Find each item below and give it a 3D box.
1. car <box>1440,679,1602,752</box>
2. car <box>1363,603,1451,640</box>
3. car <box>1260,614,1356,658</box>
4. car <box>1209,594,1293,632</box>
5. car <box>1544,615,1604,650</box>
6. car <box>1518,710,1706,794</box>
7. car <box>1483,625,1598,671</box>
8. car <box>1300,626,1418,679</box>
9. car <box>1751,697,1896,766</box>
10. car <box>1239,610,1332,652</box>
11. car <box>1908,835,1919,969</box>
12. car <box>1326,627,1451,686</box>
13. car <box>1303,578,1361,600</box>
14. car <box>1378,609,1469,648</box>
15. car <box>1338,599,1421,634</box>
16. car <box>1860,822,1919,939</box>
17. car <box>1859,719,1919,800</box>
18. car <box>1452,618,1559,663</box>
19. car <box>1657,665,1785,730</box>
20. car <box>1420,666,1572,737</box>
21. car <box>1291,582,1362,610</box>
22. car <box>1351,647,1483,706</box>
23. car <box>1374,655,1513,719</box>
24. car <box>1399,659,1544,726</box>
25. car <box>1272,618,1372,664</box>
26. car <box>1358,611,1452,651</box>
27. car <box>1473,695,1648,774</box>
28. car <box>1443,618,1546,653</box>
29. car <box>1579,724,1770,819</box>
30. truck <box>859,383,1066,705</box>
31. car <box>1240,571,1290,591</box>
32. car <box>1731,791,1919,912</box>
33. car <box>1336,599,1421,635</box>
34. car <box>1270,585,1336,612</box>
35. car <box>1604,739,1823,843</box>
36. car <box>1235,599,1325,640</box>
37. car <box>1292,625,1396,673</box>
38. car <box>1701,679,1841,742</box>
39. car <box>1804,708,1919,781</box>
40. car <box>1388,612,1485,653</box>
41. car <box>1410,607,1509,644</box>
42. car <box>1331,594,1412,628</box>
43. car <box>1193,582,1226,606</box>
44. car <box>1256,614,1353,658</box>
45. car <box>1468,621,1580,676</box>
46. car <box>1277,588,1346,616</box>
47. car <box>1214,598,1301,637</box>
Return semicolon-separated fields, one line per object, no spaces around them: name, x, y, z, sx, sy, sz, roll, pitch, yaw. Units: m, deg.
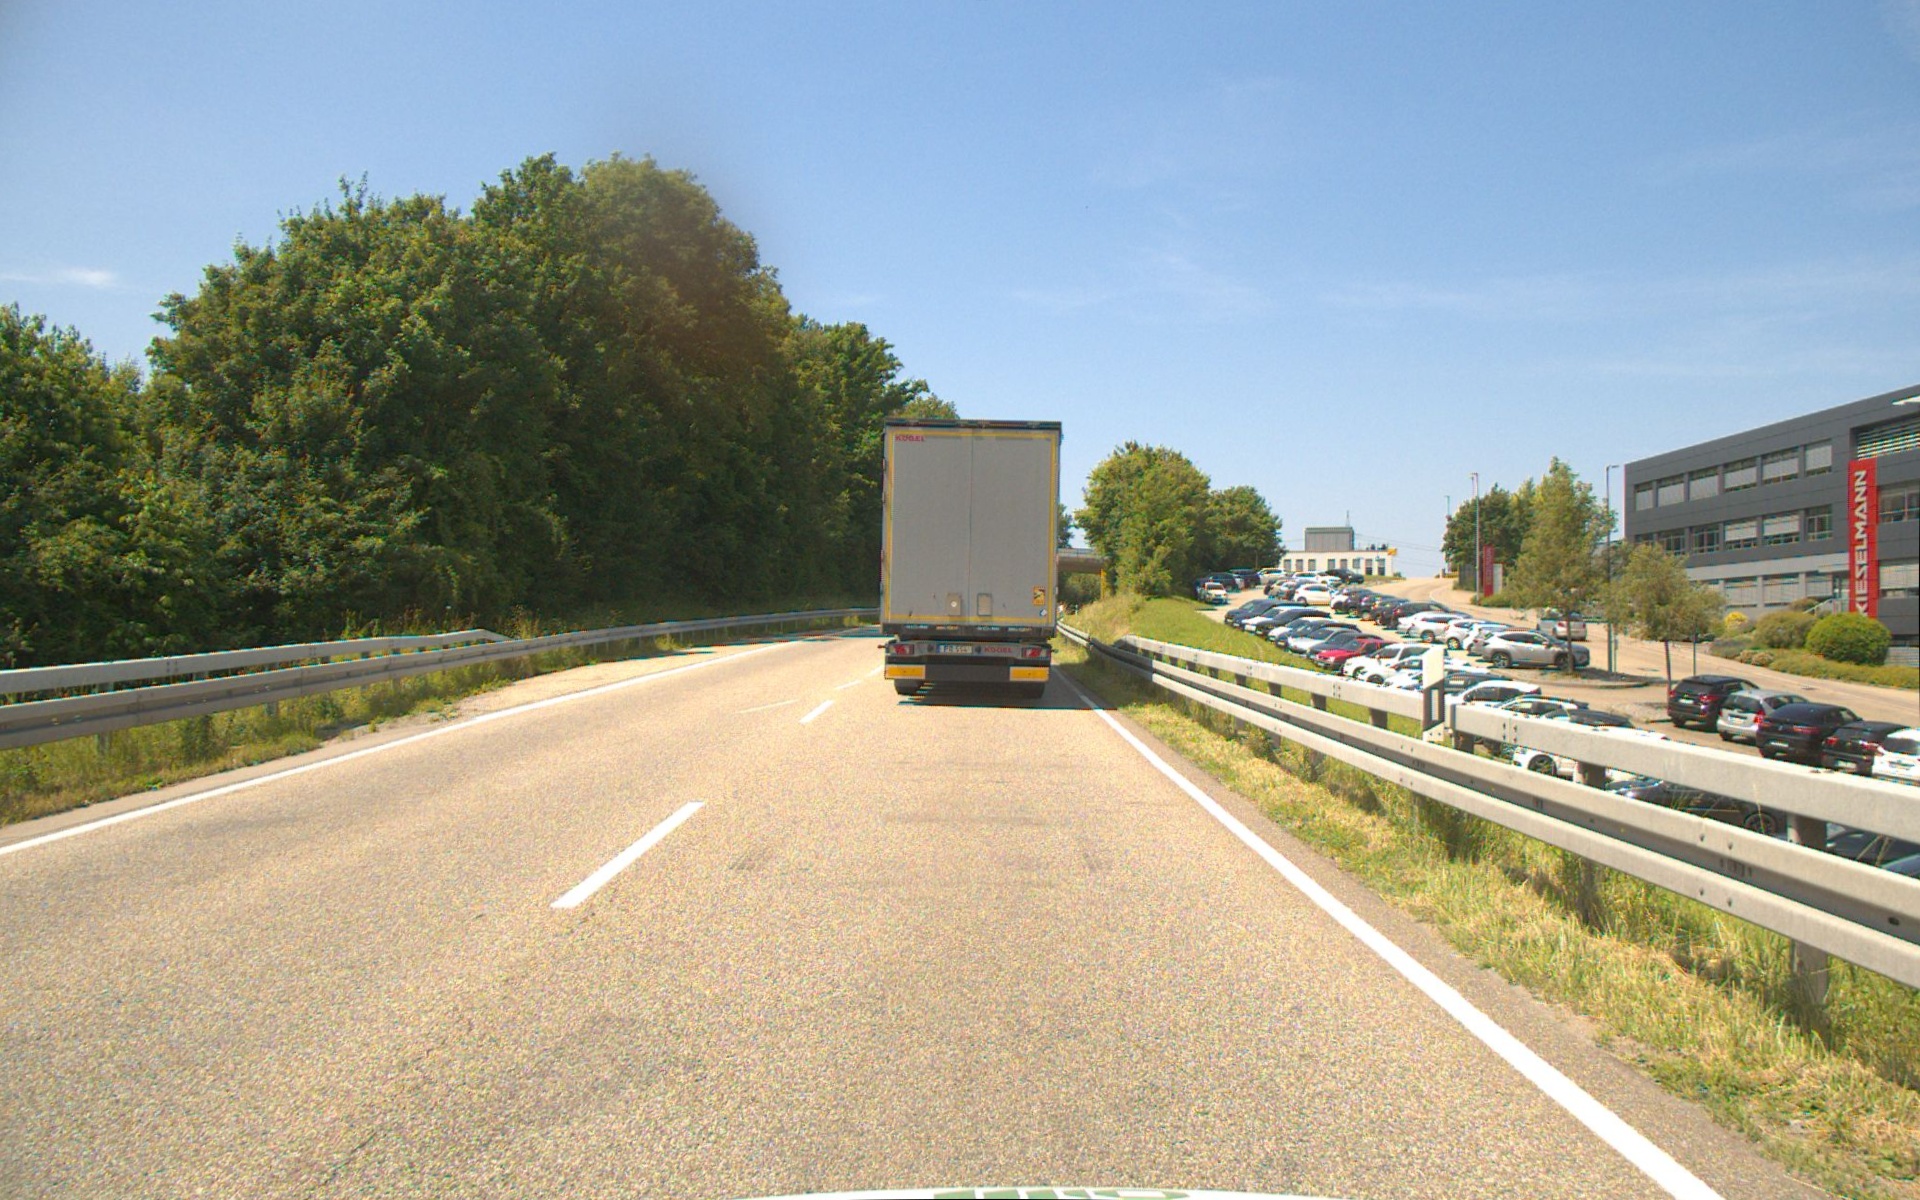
car;16.709;3.408;49.297;4.280;1.481;1.817;7;3;26
car;25.711;1.224;95.246;4.488;1.656;1.818;7;3;28
car;16.271;1.691;77.234;4.327;1.714;1.866;4;3;-36
car;16.330;0.741;92.897;4.311;1.714;1.873;4;2;-27
car;32.672;1.717;88.083;1.769;1.691;4.001;3;0;2
car;16.967;3.910;43.072;4.283;1.418;1.816;7;3;28
car;25.056;2.053;71.399;4.483;1.656;1.819;2;4;27
car;16.387;2.137;67.889;4.300;1.714;1.878;5;2;-21
car;25.252;3.805;48.350;4.533;1.539;1.800;0;5;-35
car;16.461;1.563;83.586;4.311;1.714;1.873;4;2;-27
car;17.168;4.845;25.020;4.622;2.047;2.077;7;3;27
car;16.726;2.176;64.512;4.358;1.714;1.887;7;2;23
car;31.828;-0.943;141.583;4.496;1.657;1.813;3;0;36
car;25.842;1.557;92.216;4.488;1.656;1.818;7;3;28
car;25.544;0.986;100.823;4.488;1.656;1.818;7;3;28
car;17.768;5.003;27.630;4.622;1.590;1.958;7;3;27
car;25.542;4.073;42.933;4.527;1.688;1.802;0;5;-32
car;25.448;1.875;77.191;4.484;1.656;1.820;3;7;27
car;25.336;3.210;55.034;4.186;1.656;1.802;-2;6;-32
car;16.931;3.164;52.260;4.280;1.585;1.860;7;3;26
car;25.191;-0.297;113.733;4.480;1.657;1.820;4;1;22
car;16.888;2.781;61.143;4.285;1.585;1.884;7;3;31
car;16.830;2.990;57.612;4.280;1.585;1.886;7;3;26
car;17.000;3.050;54.966;4.280;1.585;1.886;7;3;26
car;16.358;1.870;74.689;4.327;1.714;1.866;4;3;-36
car;24.145;1.676;89.782;4.488;1.656;1.818;7;3;28
car;16.808;3.717;46.332;4.283;1.481;1.816;7;3;28
car;25.862;1.717;80.026;4.482;1.503;1.819;-1;3;27
car;17.246;4.092;39.975;4.034;1.543;1.678;7;3;25
truck;-0.024;-0.790;27.903;2.808;4.435;9.787;1;0;-1
car;28.815;-1.815;156.145;4.311;1.714;1.873;0;4;-27
car;17.086;4.788;31.003;4.622;1.513;1.912;7;3;27
car;24.927;0.992;98.435;4.488;1.656;1.818;7;3;28
car;25.552;-0.102;123.098;4.480;1.656;1.820;4;2;22
car;16.904;4.255;37.254;4.279;1.516;1.710;7;3;25
car;16.761;1.025;86.696;4.311;1.714;1.873;4;2;-27
car;16.494;2.116;71.012;4.327;1.714;1.866;4;3;-36
car;25.703;3.471;52.364;4.527;1.565;1.802;0;5;-32
car;25.717;3.988;46.045;4.527;1.539;1.802;0;5;-32
car;25.038;1.681;86.957;4.488;1.656;1.818;7;3;28
car;25.174;1.244;83.428;4.490;1.546;1.817;2;5;32
car;25.787;0.684;103.740;4.488;1.656;1.818;7;3;28
car;17.890;-0.436;118.700;1.592;1.376;3.710;5;2;-2
car;16.780;1.741;80.579;4.311;1.714;1.873;4;2;-27
car;25.342;2.136;74.364;4.486;1.654;1.820;7;11;27
car;24.788;0.163;116.641;4.480;1.657;1.820;4;2;22
car;16.191;0.951;90.106;4.311;1.714;1.873;4;2;-27
